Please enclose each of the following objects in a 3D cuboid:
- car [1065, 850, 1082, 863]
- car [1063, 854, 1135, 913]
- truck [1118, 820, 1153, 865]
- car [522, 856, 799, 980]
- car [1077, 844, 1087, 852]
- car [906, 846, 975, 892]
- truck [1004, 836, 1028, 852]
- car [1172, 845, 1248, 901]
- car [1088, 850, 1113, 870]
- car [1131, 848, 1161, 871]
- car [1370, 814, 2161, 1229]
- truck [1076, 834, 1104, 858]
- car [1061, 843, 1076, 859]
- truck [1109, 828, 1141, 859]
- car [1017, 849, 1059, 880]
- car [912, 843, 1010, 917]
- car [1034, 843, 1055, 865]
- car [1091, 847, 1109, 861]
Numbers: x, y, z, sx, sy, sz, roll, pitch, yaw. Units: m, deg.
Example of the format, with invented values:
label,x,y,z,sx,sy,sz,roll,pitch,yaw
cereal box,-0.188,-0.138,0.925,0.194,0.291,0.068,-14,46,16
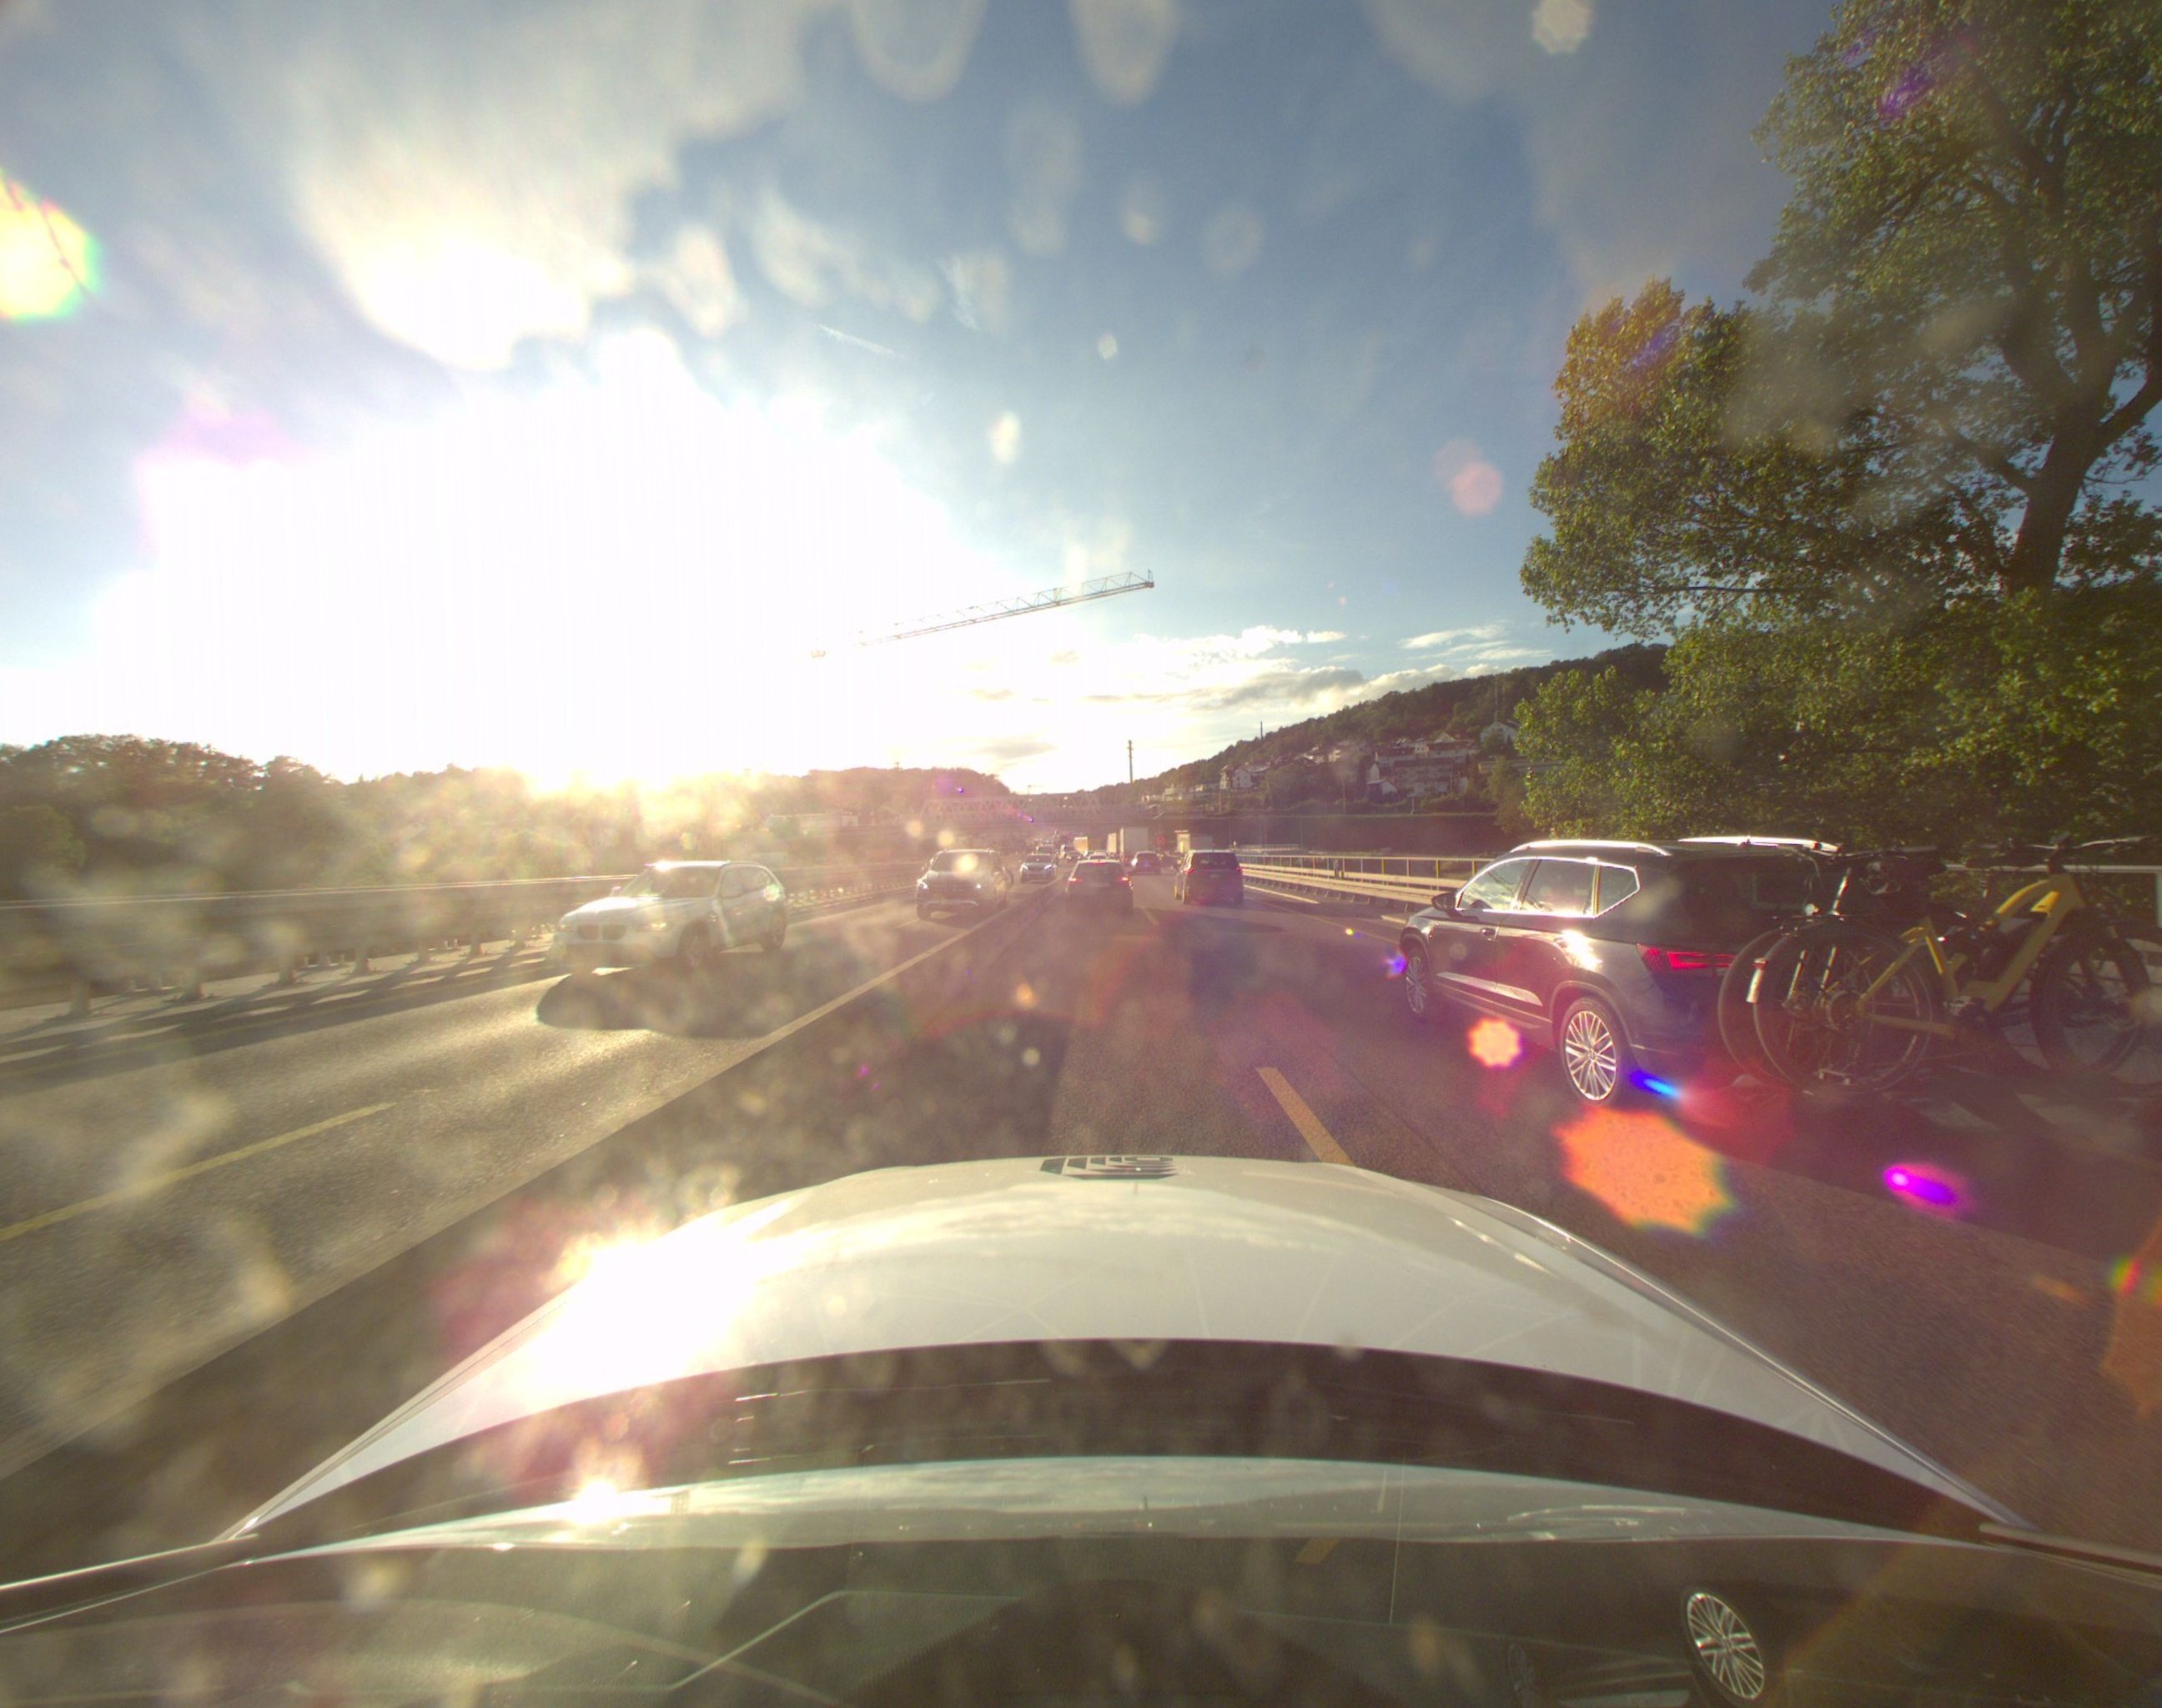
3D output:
label,x,y,z,sx,sy,sz,roll,pitch,yaw
car,-0.993,0.269,104.613,1.988,1.530,5.778,-1,0,-1
car,0.448,0.729,22.084,1.764,1.390,4.000,-1,1,0
truck,5.816,-1.163,88.505,3.372,4.498,15.278,0,0,3
car,-6.156,0.837,12.627,1.921,1.546,4.291,-1,0,2
car,0.219,-1.200,163.644,1.787,1.539,4.365,-1,0,-1
car,-6.063,0.601,35.691,1.985,1.856,4.286,2,0,3
truck,-16.143,-2.456,200.388,2.942,3.890,10.188,-1,1,-22
car,4.001,0.532,25.954,1.808,1.632,4.412,-1,0,1
car,1.445,0.420,61.331,1.760,1.486,3.999,0,1,0
car,4.521,0.345,57.356,1.764,1.552,3.999,0,1,0
car,3.805,0.641,5.685,1.869,1.599,4.966,-1,0,1
truck,1.634,-1.724,163.733,3.887,4.497,13.816,-1,1,-7
car,-2.121,-0.509,134.346,2.070,2.457,6.256,0,0,-5
truck,6.655,-1.596,126.705,3.879,4.498,15.260,0,0,-1
car,-2.364,0.554,45.681,1.830,1.640,4.005,-2,0,4
car,-3.080,0.613,21.867,1.923,1.754,4.672,-1,0,0
car,-3.996,-0.026,90.351,1.986,2.323,5.935,-1,0,1
car,1.966,-0.015,84.069,1.759,1.486,4.001,0,1,1
